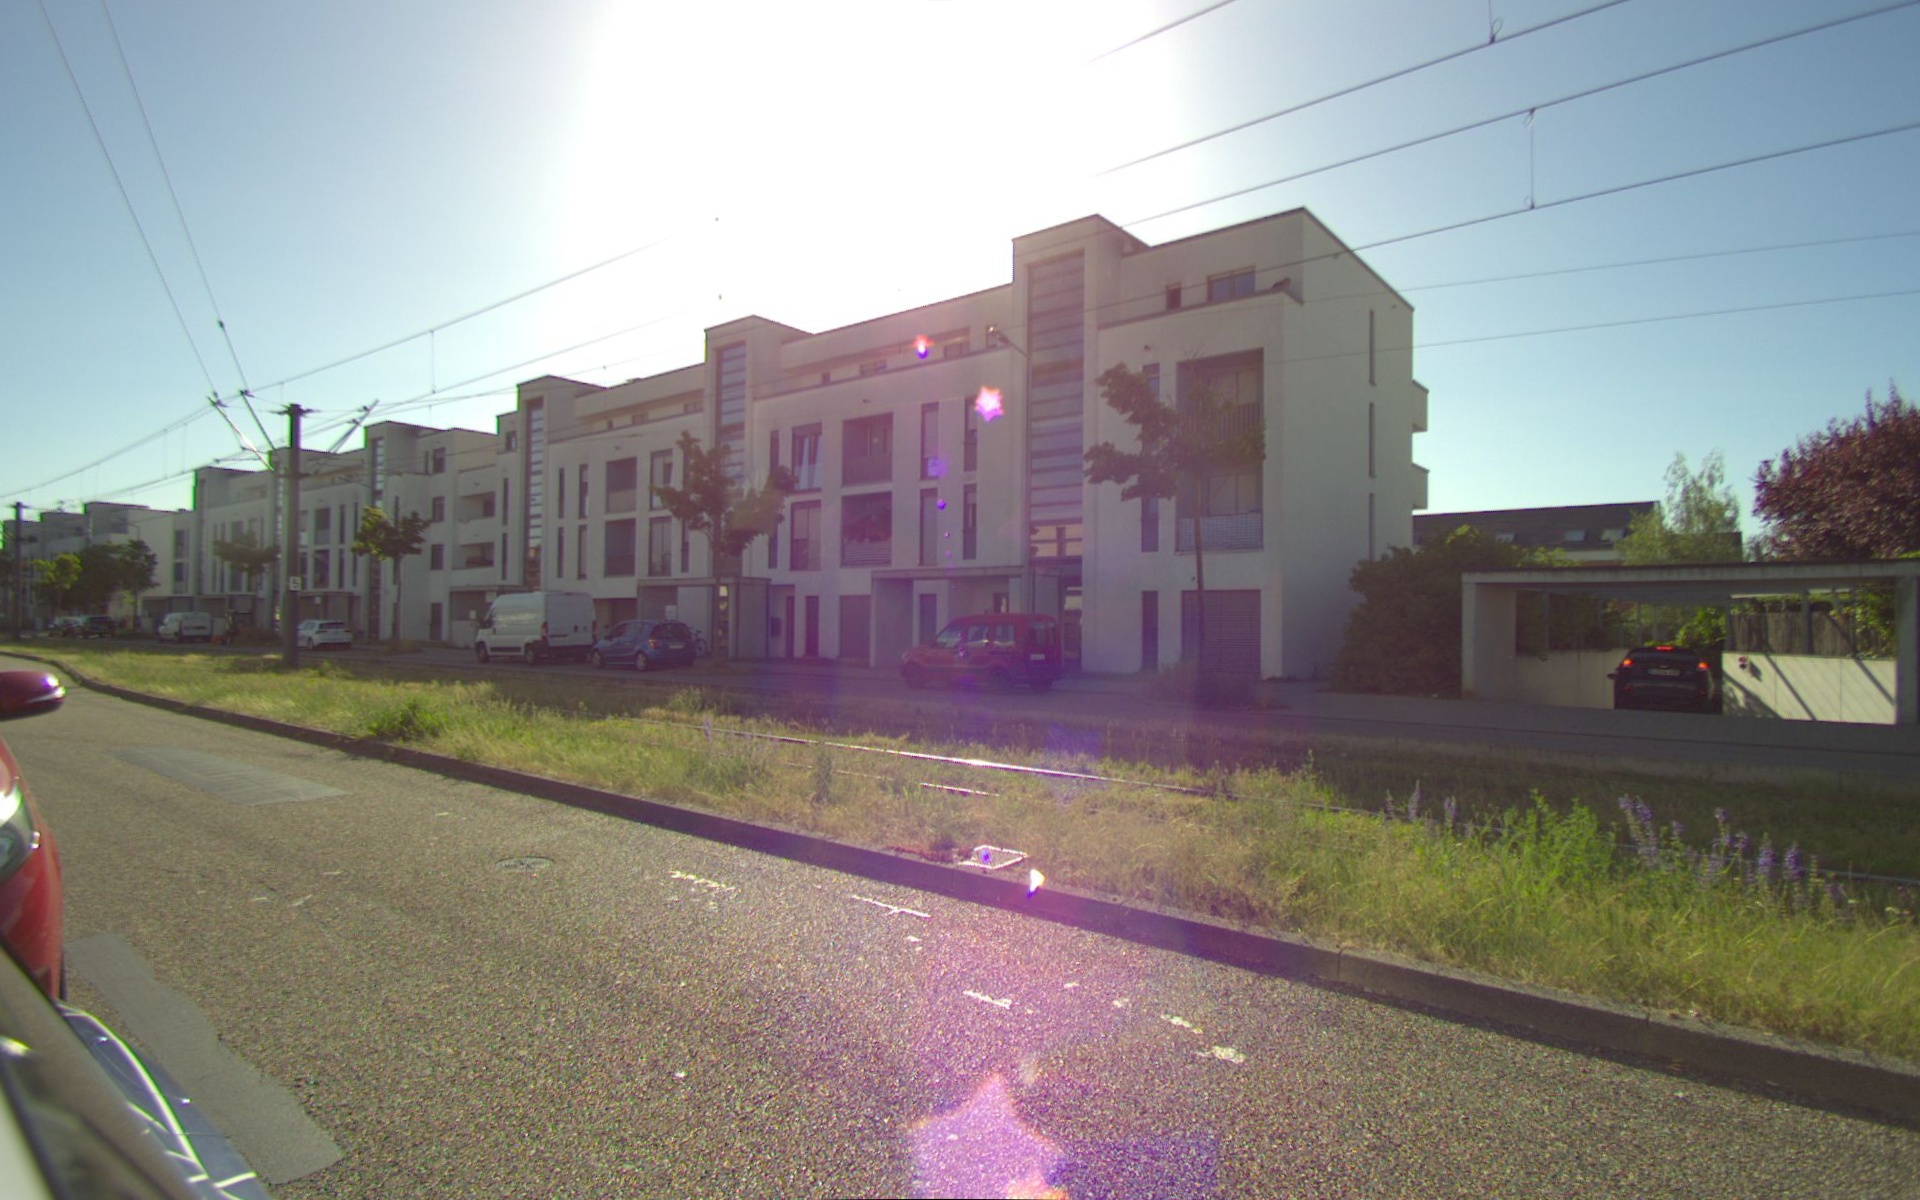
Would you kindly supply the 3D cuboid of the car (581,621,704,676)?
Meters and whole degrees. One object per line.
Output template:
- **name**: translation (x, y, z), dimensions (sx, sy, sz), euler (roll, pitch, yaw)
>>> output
- **car**: translation (-9.983, 1.451, 31.730), dimensions (3.833, 1.556, 1.973), euler (-1, 0, 40)

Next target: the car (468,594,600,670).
- **car**: translation (-15.178, 1.078, 35.935), dimensions (5.193, 2.491, 2.197), euler (-1, 0, 40)

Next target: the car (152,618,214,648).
- **car**: translation (-47.337, 1.966, 61.617), dimensions (4.277, 1.693, 1.900), euler (-1, 0, 37)

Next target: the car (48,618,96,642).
- **car**: translation (-67.503, 2.261, 76.923), dimensions (4.277, 1.693, 1.900), euler (-1, 0, 37)

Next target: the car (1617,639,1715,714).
- **car**: translation (14.971, 1.653, 21.393), dimensions (1.574, 1.337, 3.950), euler (-1, -7, 37)

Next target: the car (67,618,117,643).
- **car**: translation (-62.958, 2.170, 73.398), dimensions (4.277, 1.693, 1.900), euler (-1, 0, 37)

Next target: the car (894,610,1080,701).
- **car**: translation (0.554, 1.171, 23.008), dimensions (3.895, 1.842, 1.972), euler (-1, 0, 43)

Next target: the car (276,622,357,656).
- **car**: translation (-31.118, 1.842, 48.890), dimensions (4.277, 1.517, 1.900), euler (-1, 0, 37)

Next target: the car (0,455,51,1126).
- **car**: translation (-4.900, 0.557, 3.680), dimensions (4.505, 1.868, 1.850), euler (-1, 0, 41)

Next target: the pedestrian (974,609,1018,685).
- **pedestrian**: translation (0.912, 1.159, 25.404), dimensions (0.785, 1.836, 0.766), euler (-1, 0, 41)
